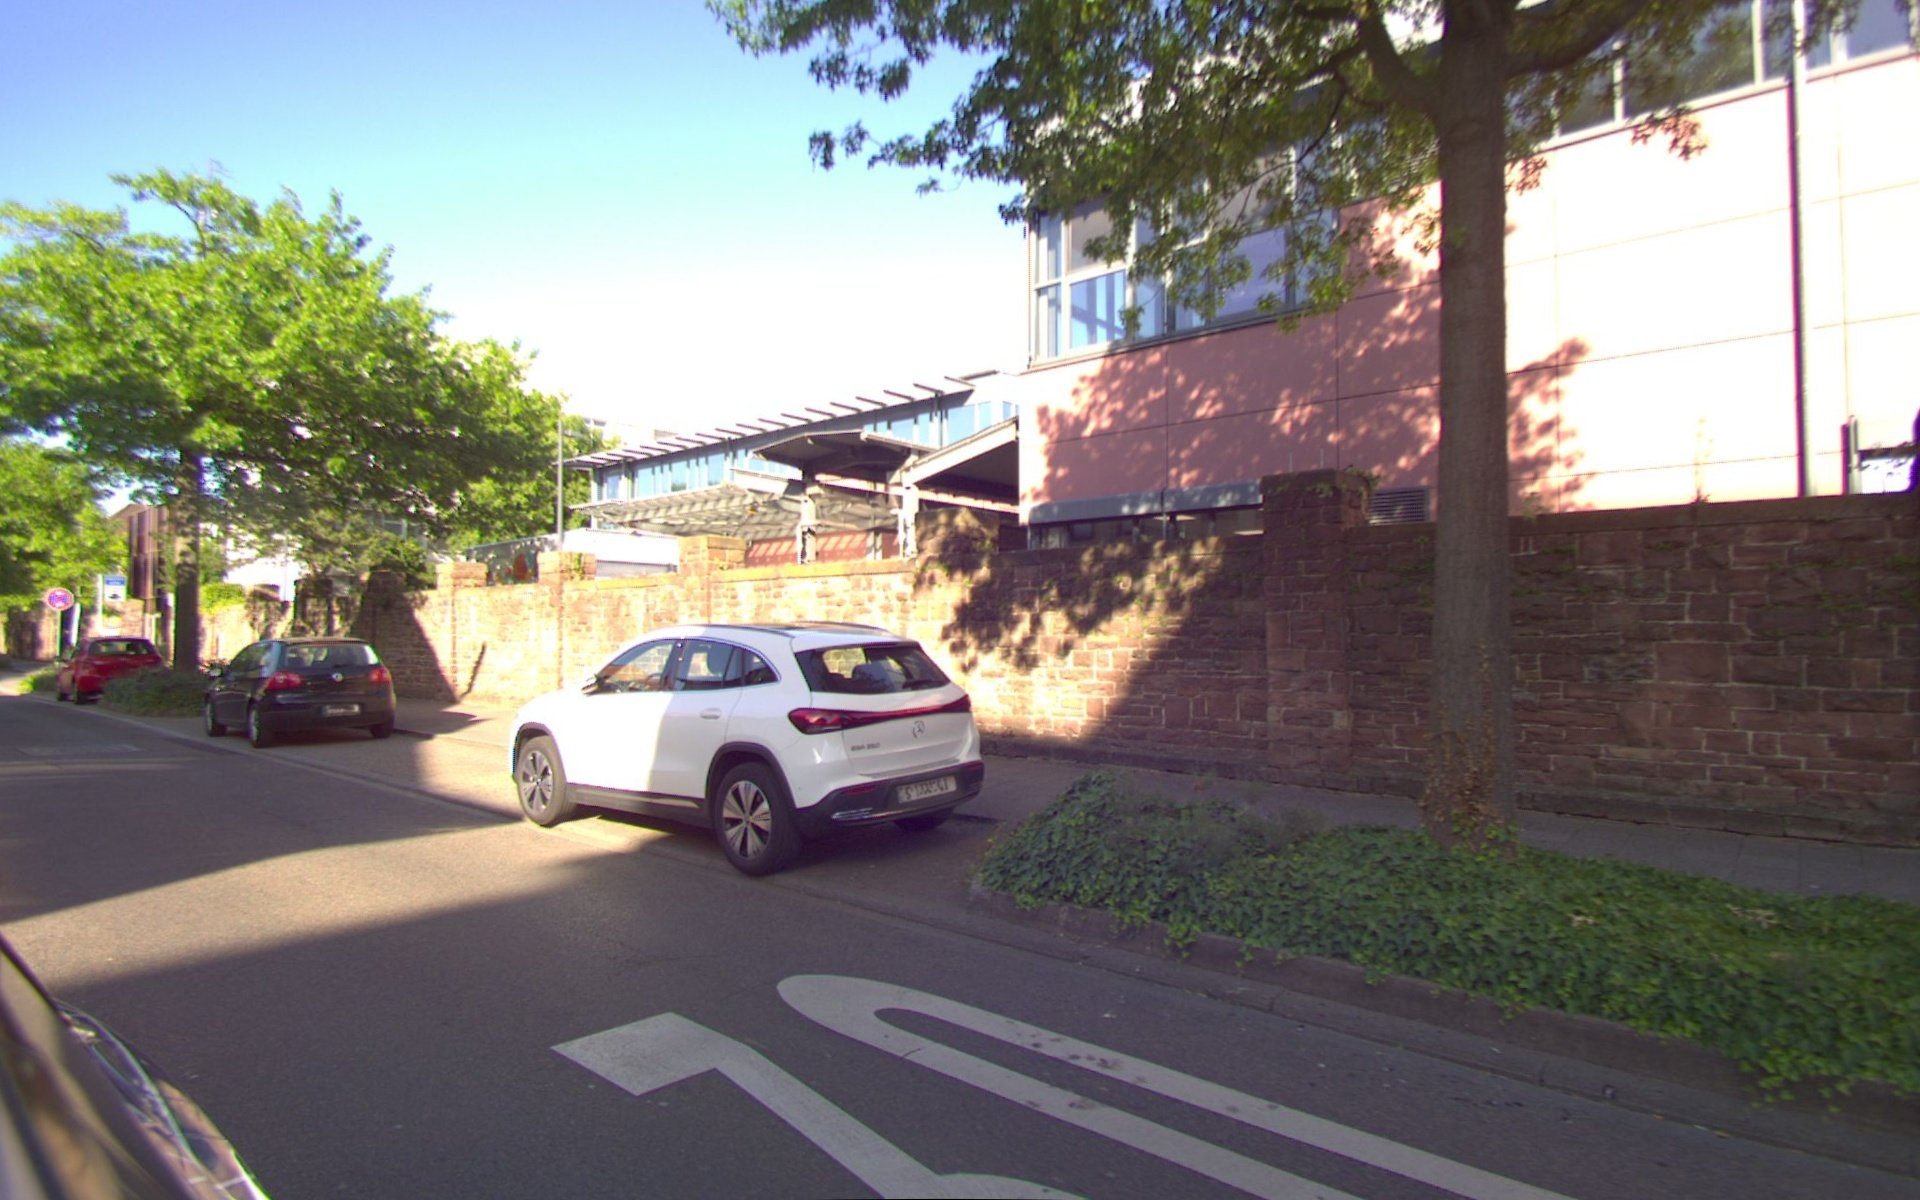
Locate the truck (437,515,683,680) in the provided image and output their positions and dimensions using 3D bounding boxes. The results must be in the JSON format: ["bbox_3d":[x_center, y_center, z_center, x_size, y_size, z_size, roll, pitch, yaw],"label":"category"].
[{"bbox_3d":[-10.555,-0.001,26.280,7.423,3.739,2.705,-2,0,40],"label":"truck"}]

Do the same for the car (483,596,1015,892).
[{"bbox_3d":[-1.830,0.886,7.857,4.346,1.696,1.703,-2,-2,39],"label":"car"}]

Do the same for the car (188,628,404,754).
[{"bbox_3d":[-9.980,1.240,15.092,4.105,1.604,1.718,-2,-2,42],"label":"car"}]

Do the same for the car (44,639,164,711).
[{"bbox_3d":[-20.042,1.689,23.658,3.706,1.470,1.592,-2,0,41],"label":"car"}]
